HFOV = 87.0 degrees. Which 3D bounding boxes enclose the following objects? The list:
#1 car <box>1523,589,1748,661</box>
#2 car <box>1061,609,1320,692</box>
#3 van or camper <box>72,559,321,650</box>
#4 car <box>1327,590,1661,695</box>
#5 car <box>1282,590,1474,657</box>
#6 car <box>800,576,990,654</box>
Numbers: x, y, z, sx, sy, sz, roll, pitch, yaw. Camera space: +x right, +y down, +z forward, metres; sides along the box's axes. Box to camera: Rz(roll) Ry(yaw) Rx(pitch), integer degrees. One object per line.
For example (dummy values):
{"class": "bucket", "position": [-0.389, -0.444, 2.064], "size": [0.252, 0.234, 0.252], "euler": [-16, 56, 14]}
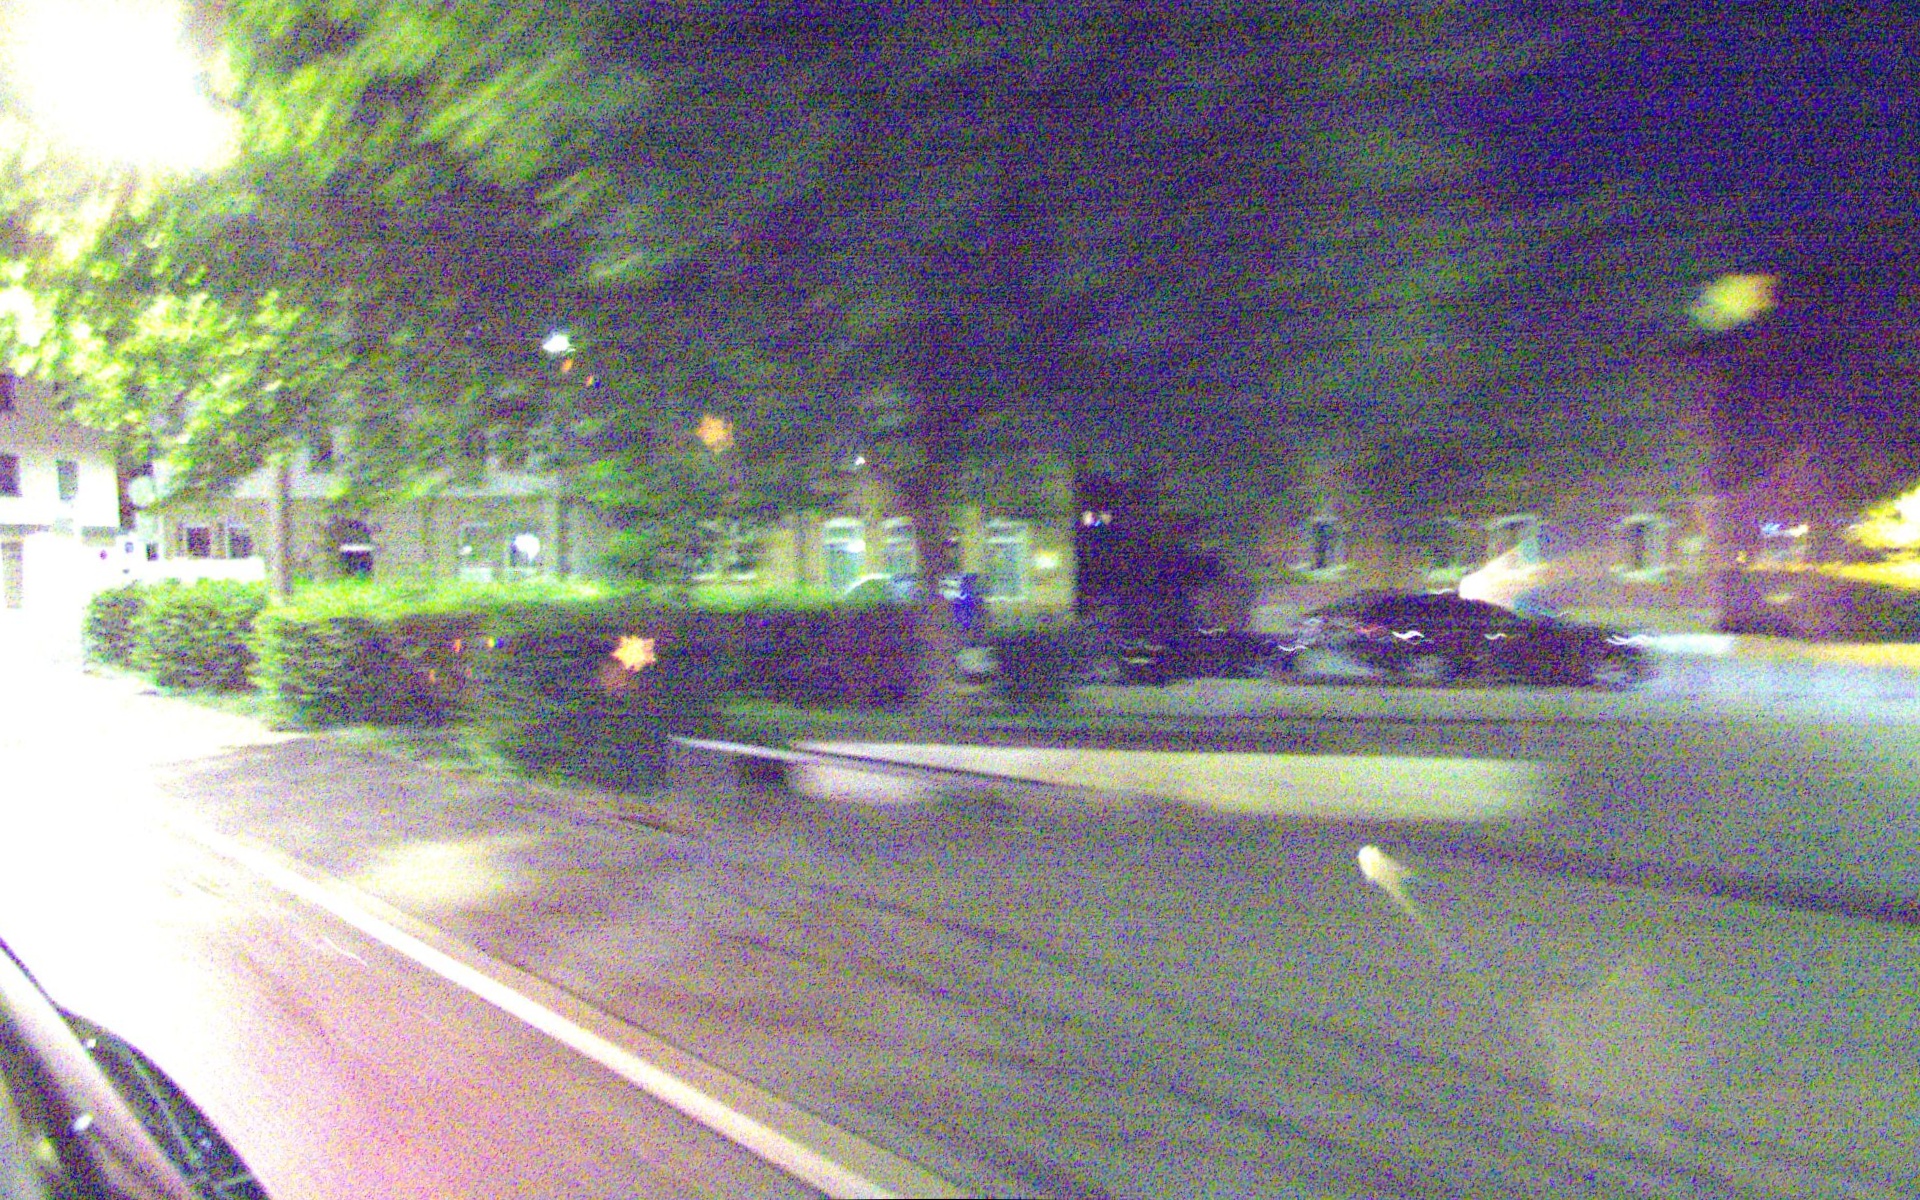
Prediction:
{"class": "car", "position": [15.903, 0.546, 24.006], "size": [4.057, 1.578, 1.678], "euler": [0, 1, 8]}
{"class": "car", "position": [4.132, 0.885, 18.686], "size": [4.422, 1.425, 1.881], "euler": [0, 0, 9]}
{"class": "van or camper", "position": [-22.493, 0.123, 29.924], "size": [6.153, 2.555, 2.160], "euler": [0, -1, 8]}
{"class": "car", "position": [9.279, 0.702, 18.022], "size": [4.825, 1.707, 2.041], "euler": [0, -1, 9]}
{"class": "car", "position": [10.251, 0.548, 25.087], "size": [4.051, 1.521, 1.707], "euler": [0, 3, 7]}
{"class": "car", "position": [-1.658, 0.363, 26.852], "size": [4.749, 1.969, 1.995], "euler": [0, 1, 8]}
